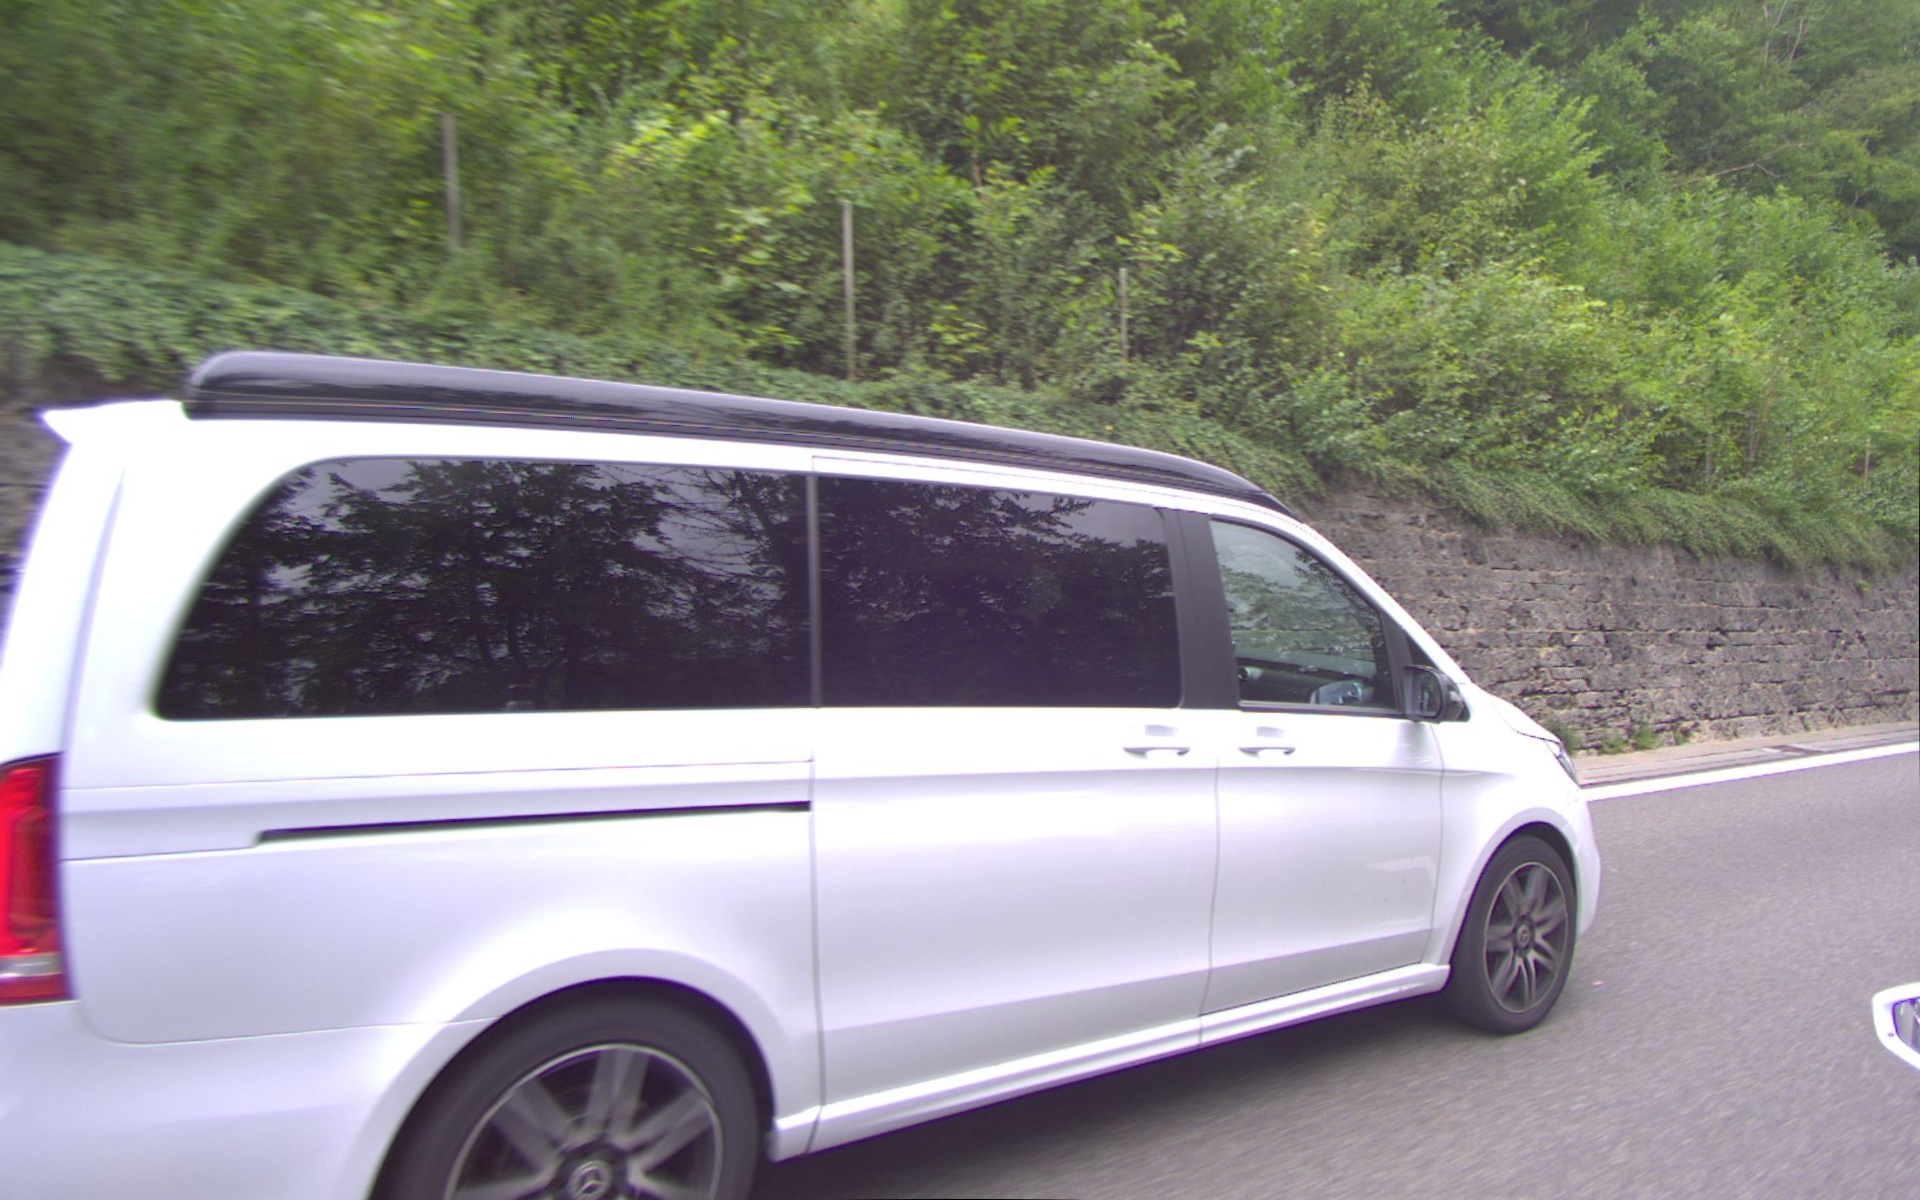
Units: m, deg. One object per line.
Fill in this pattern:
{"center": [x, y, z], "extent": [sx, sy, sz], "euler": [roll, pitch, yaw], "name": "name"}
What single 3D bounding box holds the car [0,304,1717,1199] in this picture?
{"center": [-0.105, 0.591, 3.324], "extent": [6.075, 1.979, 1.984], "euler": [1, 0, -31], "name": "car"}
